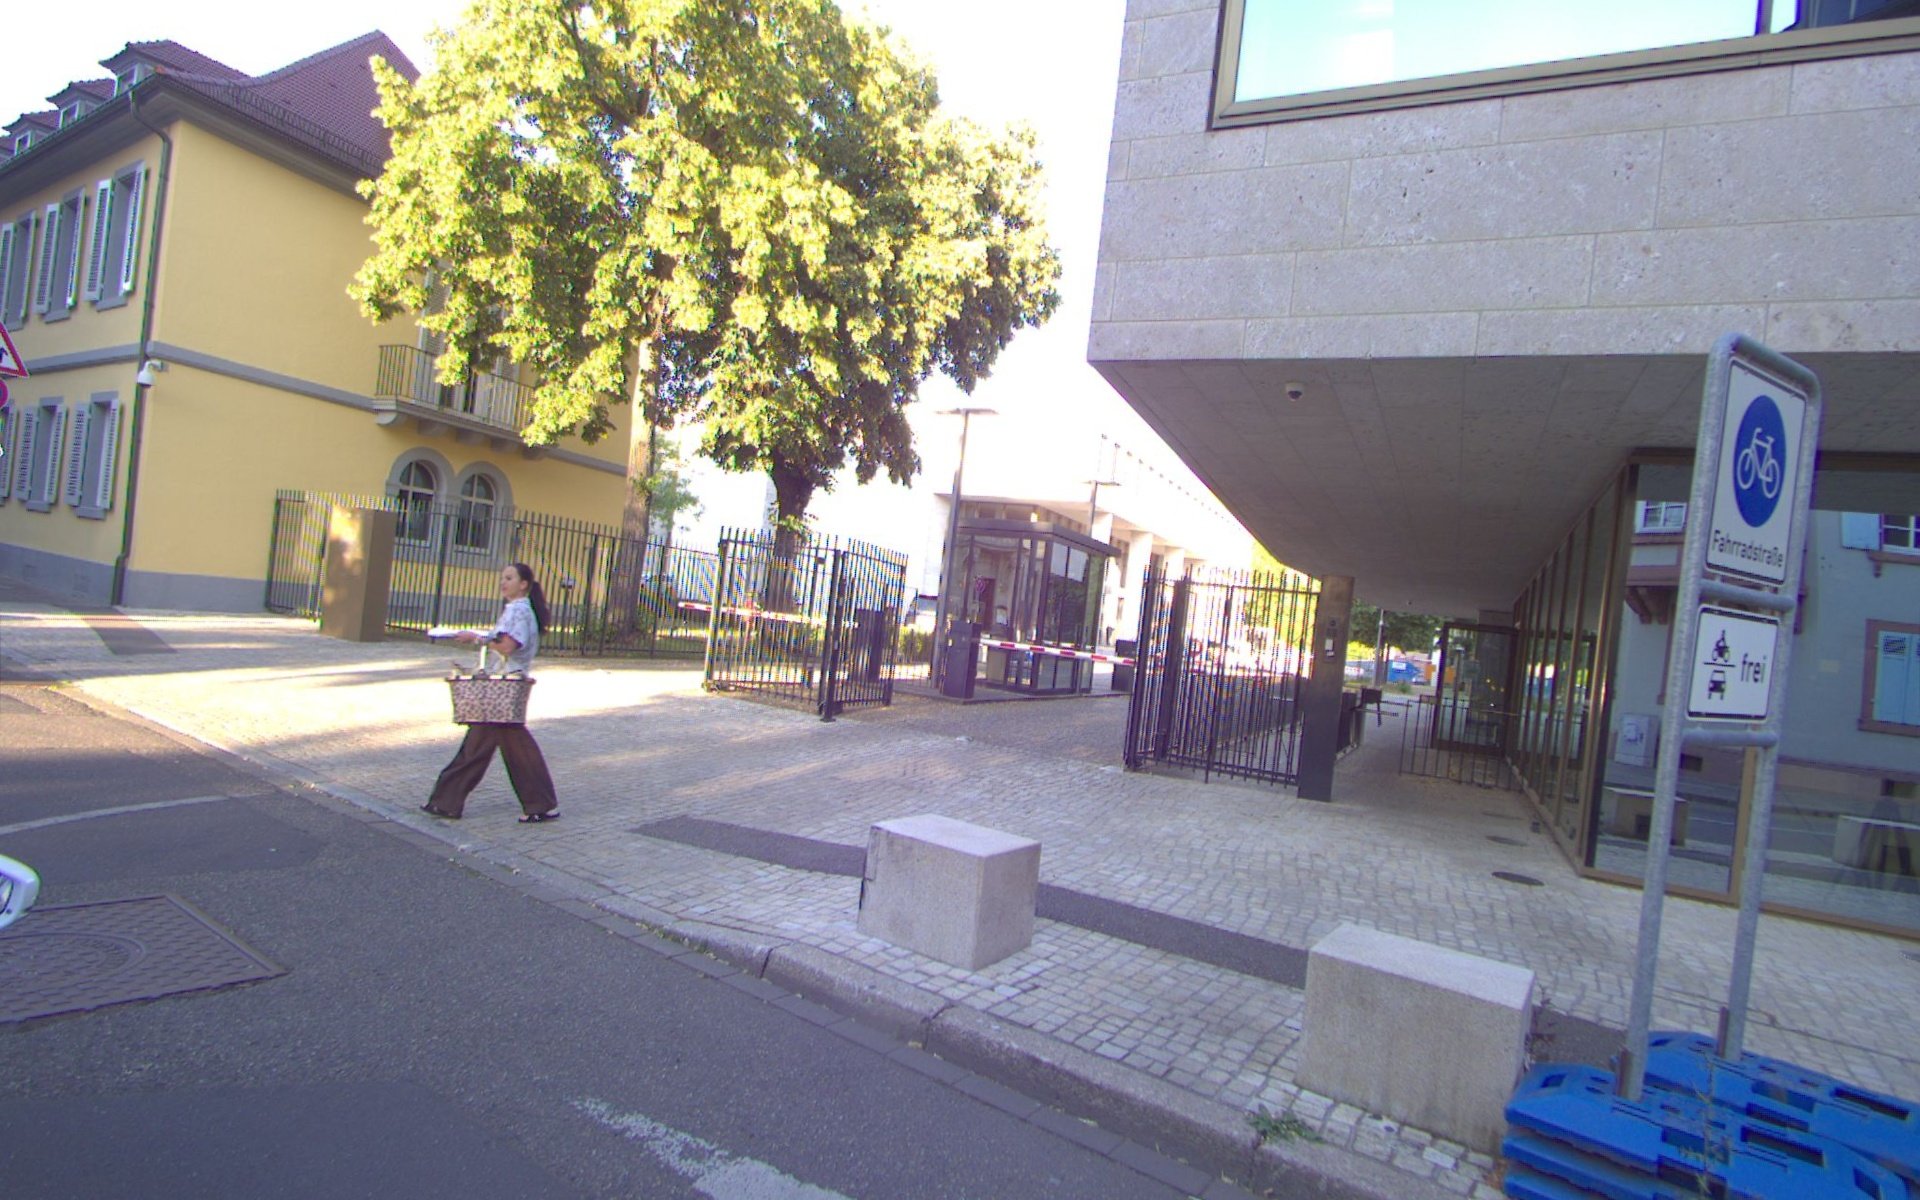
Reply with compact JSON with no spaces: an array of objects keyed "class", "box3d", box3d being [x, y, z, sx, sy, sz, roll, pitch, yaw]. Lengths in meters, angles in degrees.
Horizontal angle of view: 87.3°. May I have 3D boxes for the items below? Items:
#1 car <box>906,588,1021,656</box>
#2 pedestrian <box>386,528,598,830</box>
[{"class":"car","box3d":[0.175,0.759,32.130,1.680,1.758,4.057,9,1,30]},{"class":"pedestrian","box3d":[-2.816,0.477,6.153,0.946,1.679,0.637,6,0,-18]}]
